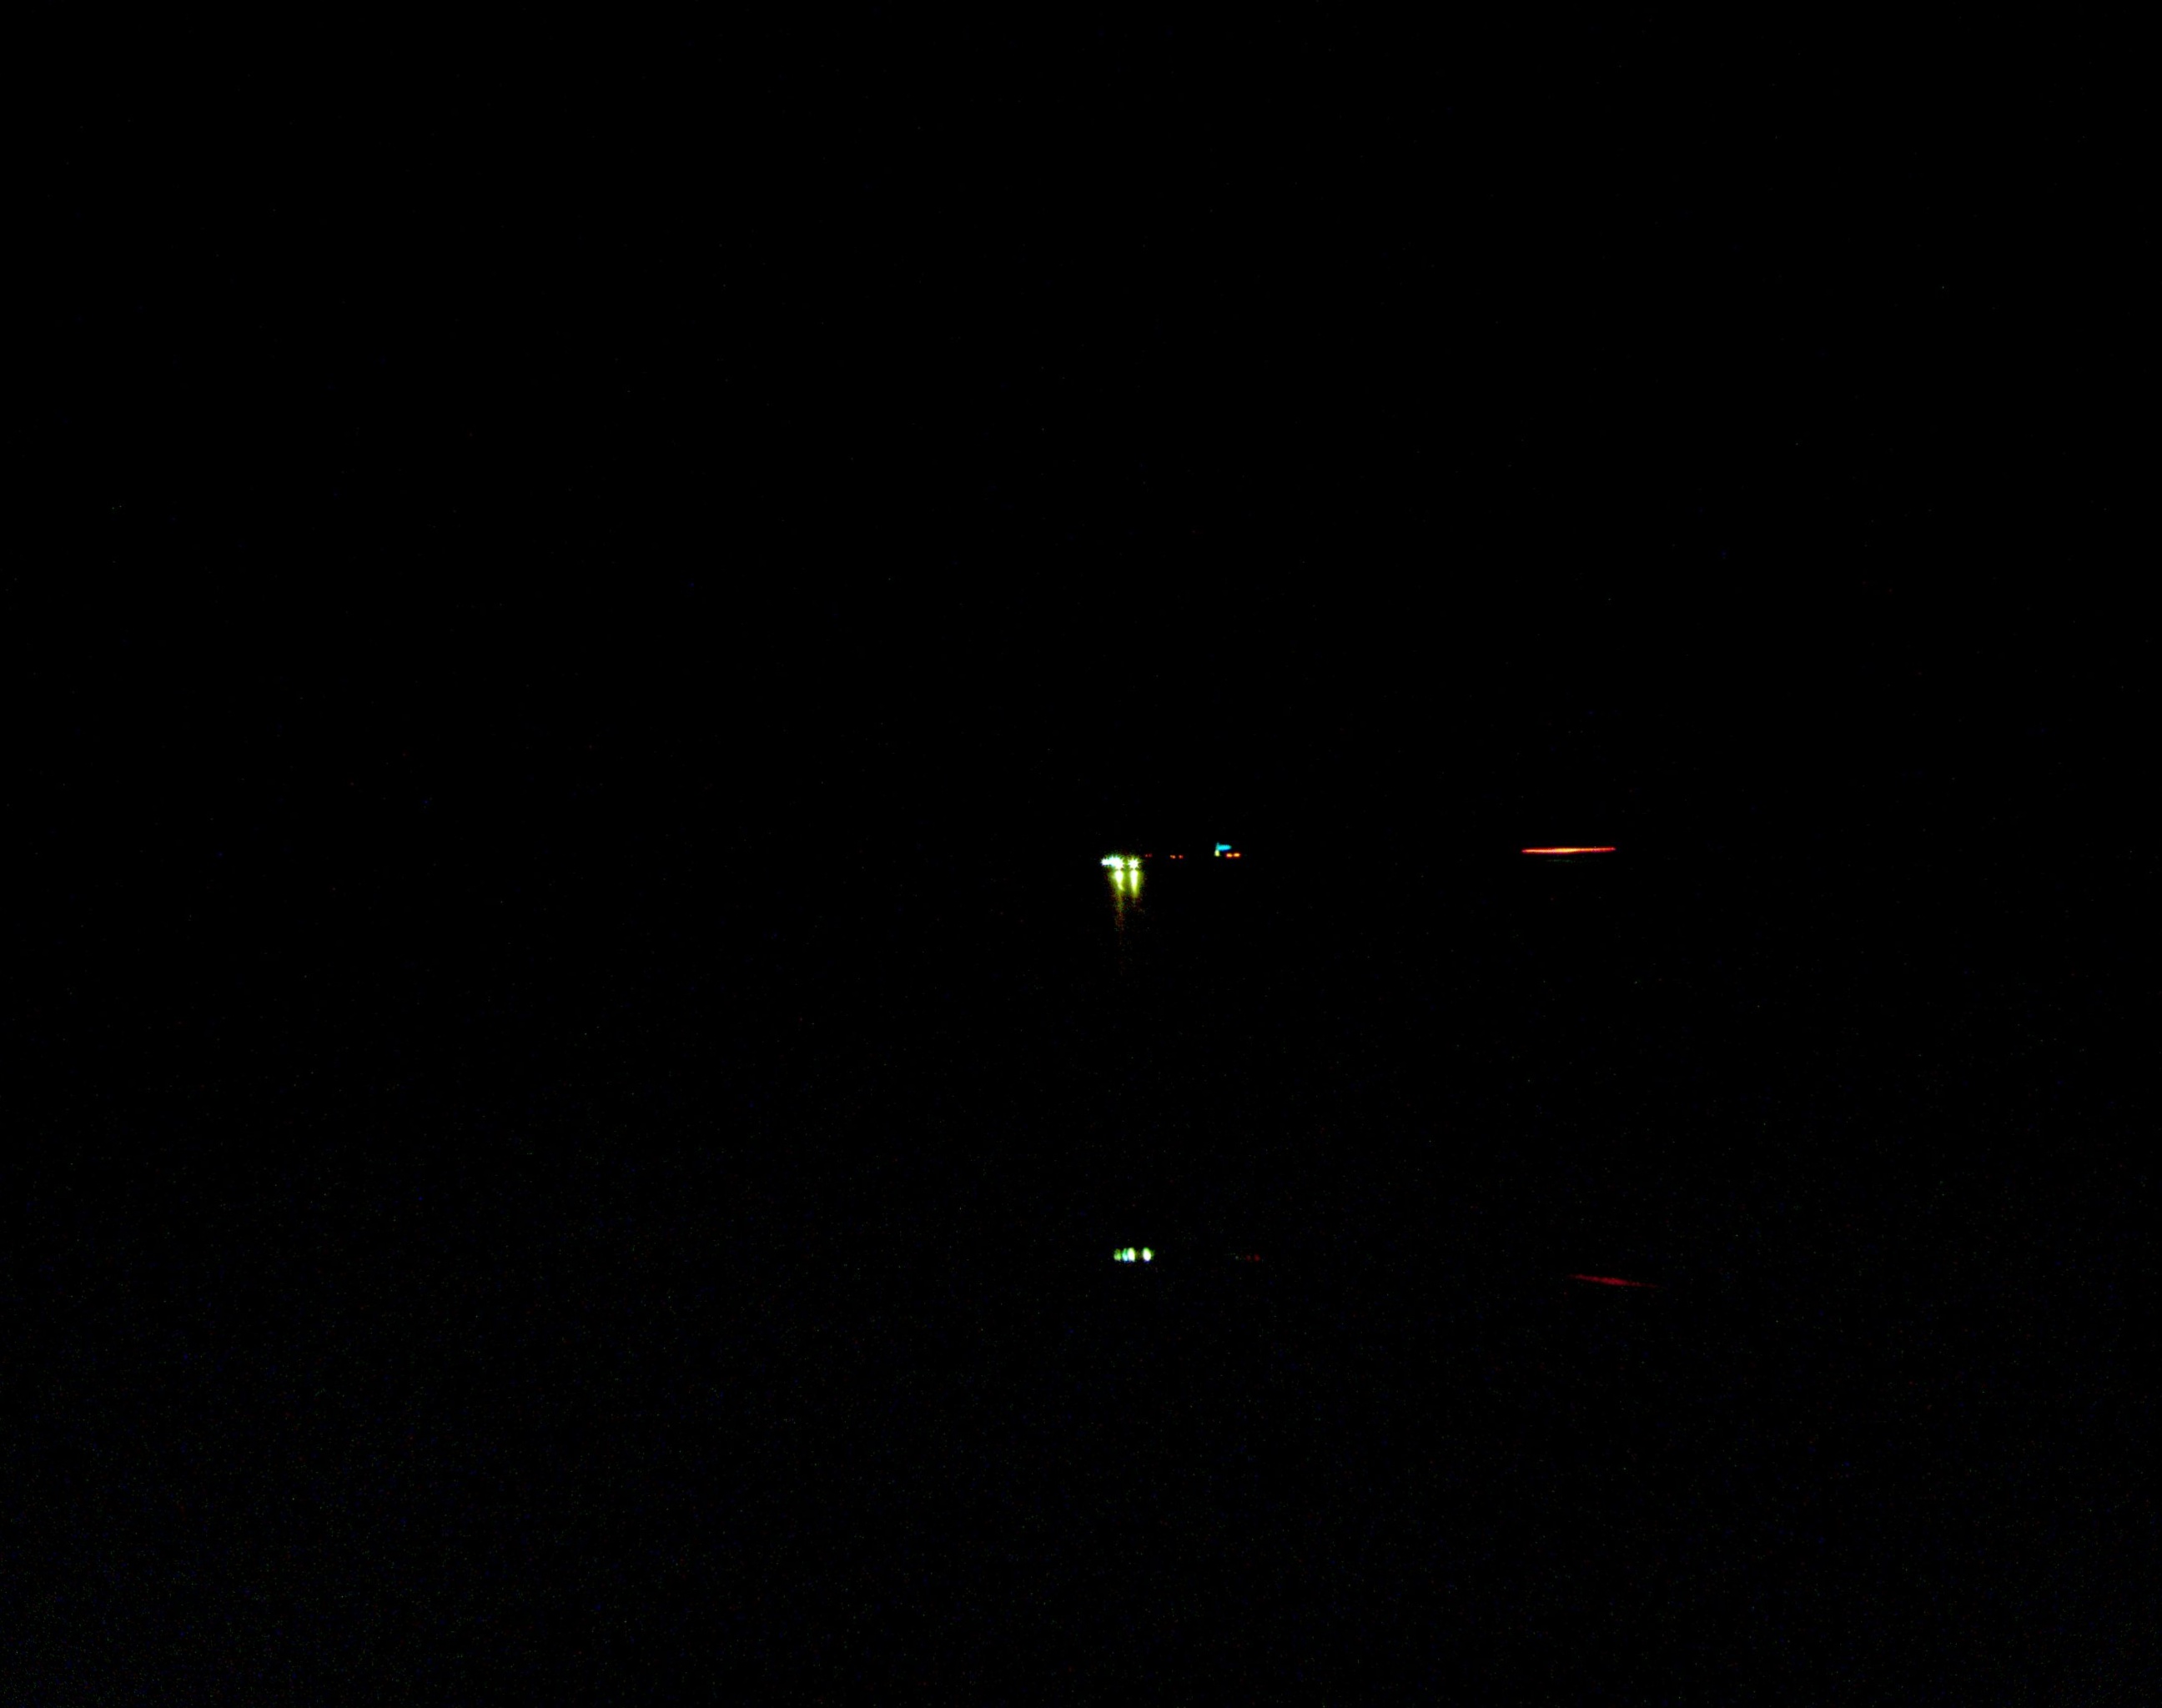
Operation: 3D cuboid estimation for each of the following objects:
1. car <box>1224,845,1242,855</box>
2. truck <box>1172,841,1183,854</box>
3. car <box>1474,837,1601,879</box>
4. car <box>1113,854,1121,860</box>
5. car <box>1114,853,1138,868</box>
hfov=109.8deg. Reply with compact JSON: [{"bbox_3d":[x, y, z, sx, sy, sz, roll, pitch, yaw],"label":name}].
[{"bbox_3d":[24.421,-0.693,122.026,1.999,1.500,3.999,-3,0,-1],"label":"car"},{"bbox_3d":[29.033,-1.877,228.700,2.525,3.829,9.066,-3,0,3],"label":"truck"},{"bbox_3d":[18.680,0.158,31.442,1.999,1.500,5.202,-3,0,-1],"label":"car"},{"bbox_3d":[11.174,0.797,235.147,1.999,1.724,4.225,-3,-1,0],"label":"car"},{"bbox_3d":[4.621,0.661,78.416,1.999,1.422,4.329,-3,-1,-1],"label":"car"}]
